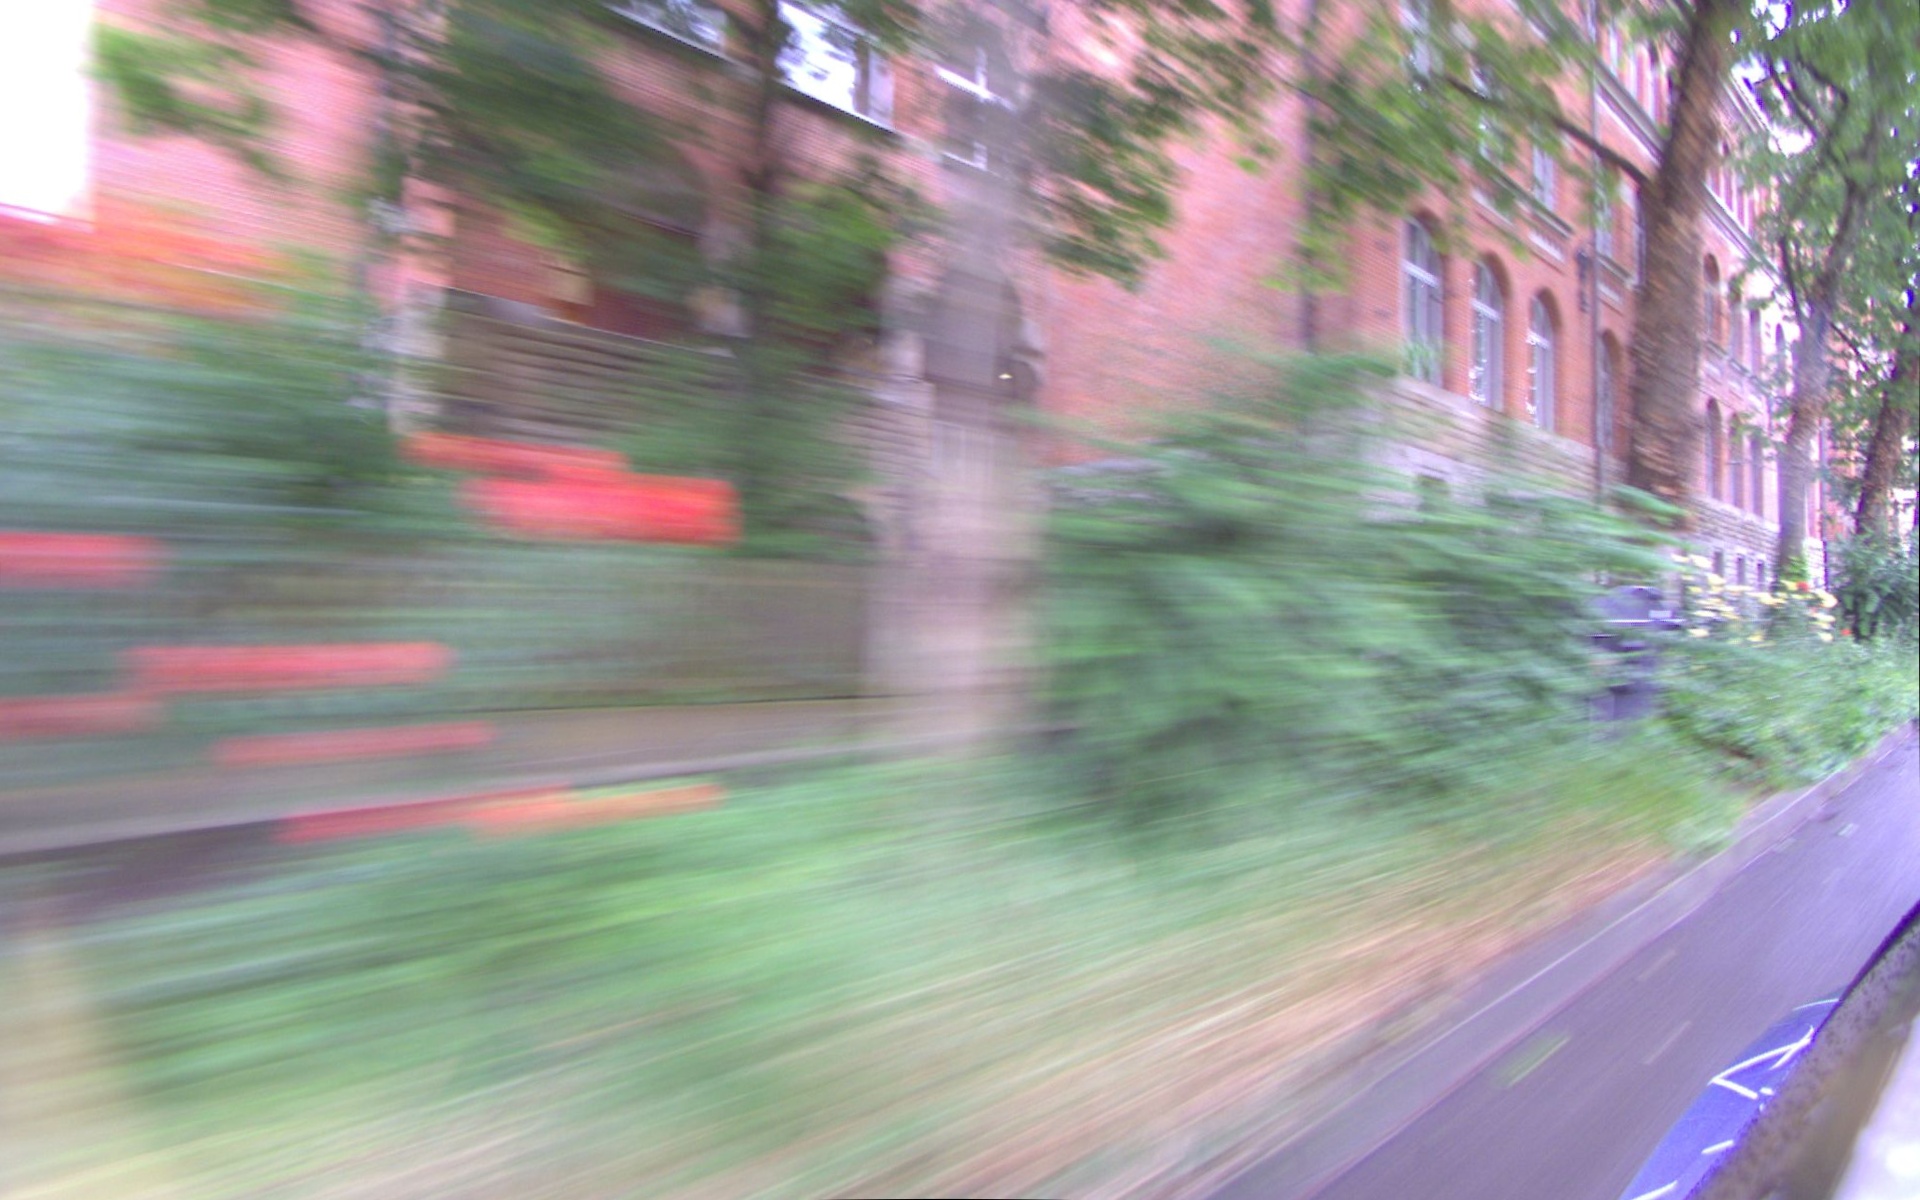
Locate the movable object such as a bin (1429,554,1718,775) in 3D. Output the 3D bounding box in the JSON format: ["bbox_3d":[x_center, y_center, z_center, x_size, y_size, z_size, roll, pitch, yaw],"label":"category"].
[{"bbox_3d":[4.567,0.422,7.622,1.191,1.471,1.408,1,1,-25],"label":"movable object such as a bin"}]
